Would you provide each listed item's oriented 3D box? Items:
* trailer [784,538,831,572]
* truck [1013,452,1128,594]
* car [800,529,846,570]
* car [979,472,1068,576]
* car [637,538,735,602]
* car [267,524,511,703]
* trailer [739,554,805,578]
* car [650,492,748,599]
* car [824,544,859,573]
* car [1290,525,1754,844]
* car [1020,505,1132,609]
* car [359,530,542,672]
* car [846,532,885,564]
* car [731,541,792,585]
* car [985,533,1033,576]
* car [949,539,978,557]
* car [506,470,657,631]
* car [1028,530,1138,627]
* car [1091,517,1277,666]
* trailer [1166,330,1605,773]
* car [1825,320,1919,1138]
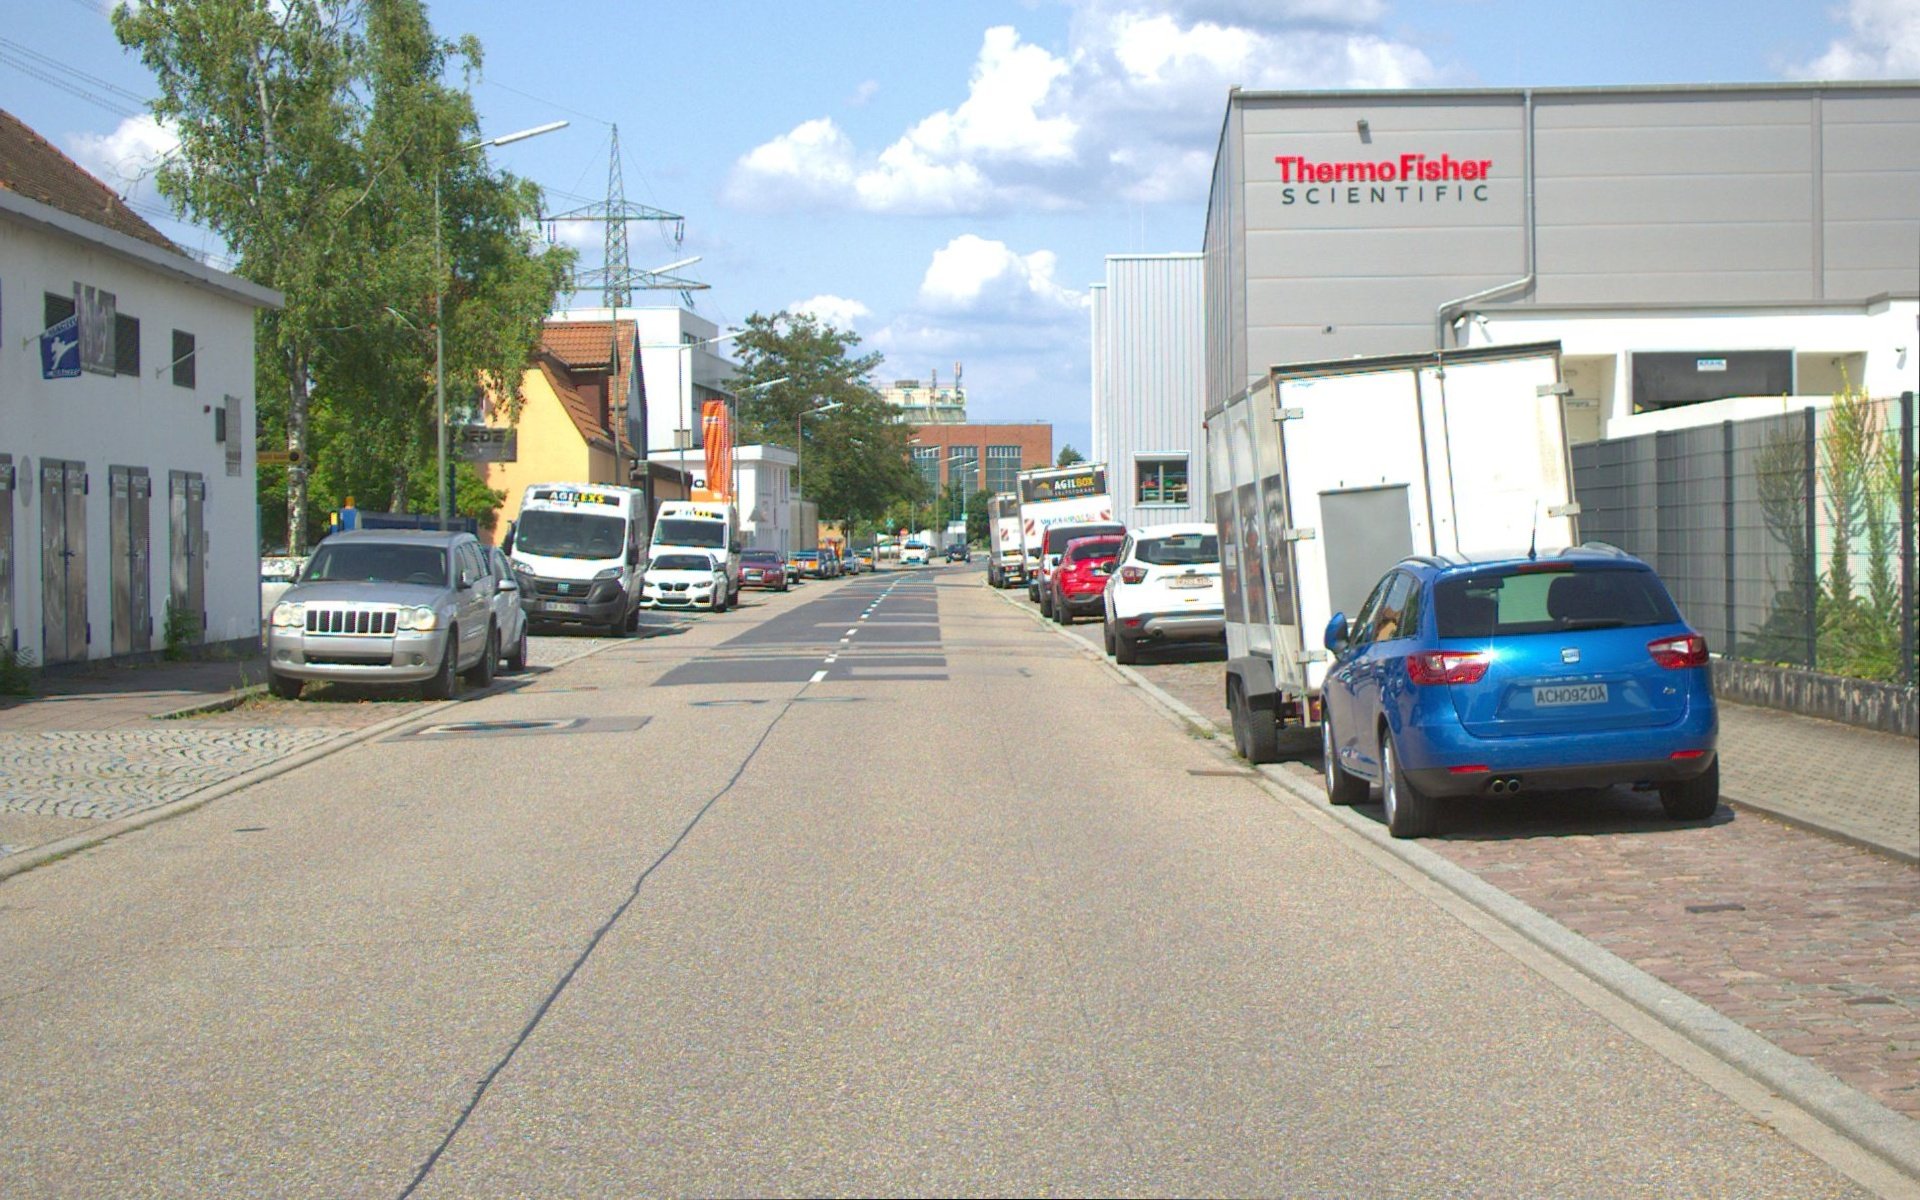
[{"bbox_3d":[-6.969,-2.080,157.608,1.993,1.551,4.254,0,1,0],"label":"trailer"},{"bbox_3d":[2.766,-1.941,87.900,2.458,3.282,6.818,-5,1,0],"label":"truck"},{"bbox_3d":[-6.899,-2.552,173.175,1.994,2.007,4.000,1,1,2],"label":"car"},{"bbox_3d":[2.149,-2.589,118.925,2.388,3.351,6.646,-4,1,-3],"label":"car"},{"bbox_3d":[-6.264,-0.695,78.961,1.796,1.392,4.502,1,1,1],"label":"car"},{"bbox_3d":[-5.974,0.099,36.485,1.790,1.713,4.752,2,1,0],"label":"car"},{"bbox_3d":[-7.438,-1.356,136.590,2.362,0.890,5.569,1,1,0],"label":"trailer"},{"bbox_3d":[-6.494,-1.347,86.180,2.026,2.552,6.840,1,1,-1],"label":"car"},{"bbox_3d":[-6.170,-2.149,178.688,1.668,1.442,3.454,1,1,0],"label":"car"},{"bbox_3d":[2.921,0.392,18.699,1.690,1.456,4.071,-3,1,-1],"label":"car"},{"bbox_3d":[2.342,-0.901,70.402,2.054,1.897,5.147,-4,1,1],"label":"car"},{"bbox_3d":[-6.108,-0.022,41.459,1.609,1.568,3.009,3,1,2],"label":"car"},{"bbox_3d":[-5.379,-2.959,196.636,1.922,1.788,4.000,1,1,2],"label":"car"},{"bbox_3d":[-6.771,-1.276,117.635,1.762,1.442,4.741,1,1,0],"label":"car"},{"bbox_3d":[1.877,-1.722,131.532,1.768,1.607,3.873,-1,0,1],"label":"car"},{"bbox_3d":[0.259,-3.821,252.114,1.918,1.280,3.614,-1,1,2],"label":"car"},{"bbox_3d":[-6.441,-0.837,59.206,2.029,2.549,6.658,2,1,-2],"label":"car"},{"bbox_3d":[2.228,-0.404,63.431,1.704,1.619,4.093,-4,1,-1],"label":"car"},{"bbox_3d":[2.795,-0.149,43.841,1.935,1.687,4.680,-3,1,0],"label":"car"},{"bbox_3d":[2.937,-0.343,25.313,2.204,2.727,6.222,-4,1,-1],"label":"trailer"},{"bbox_3d":[3.362,0.333,6.406,1.993,2.007,5.650,-1,1,-1],"label":"car"}]
